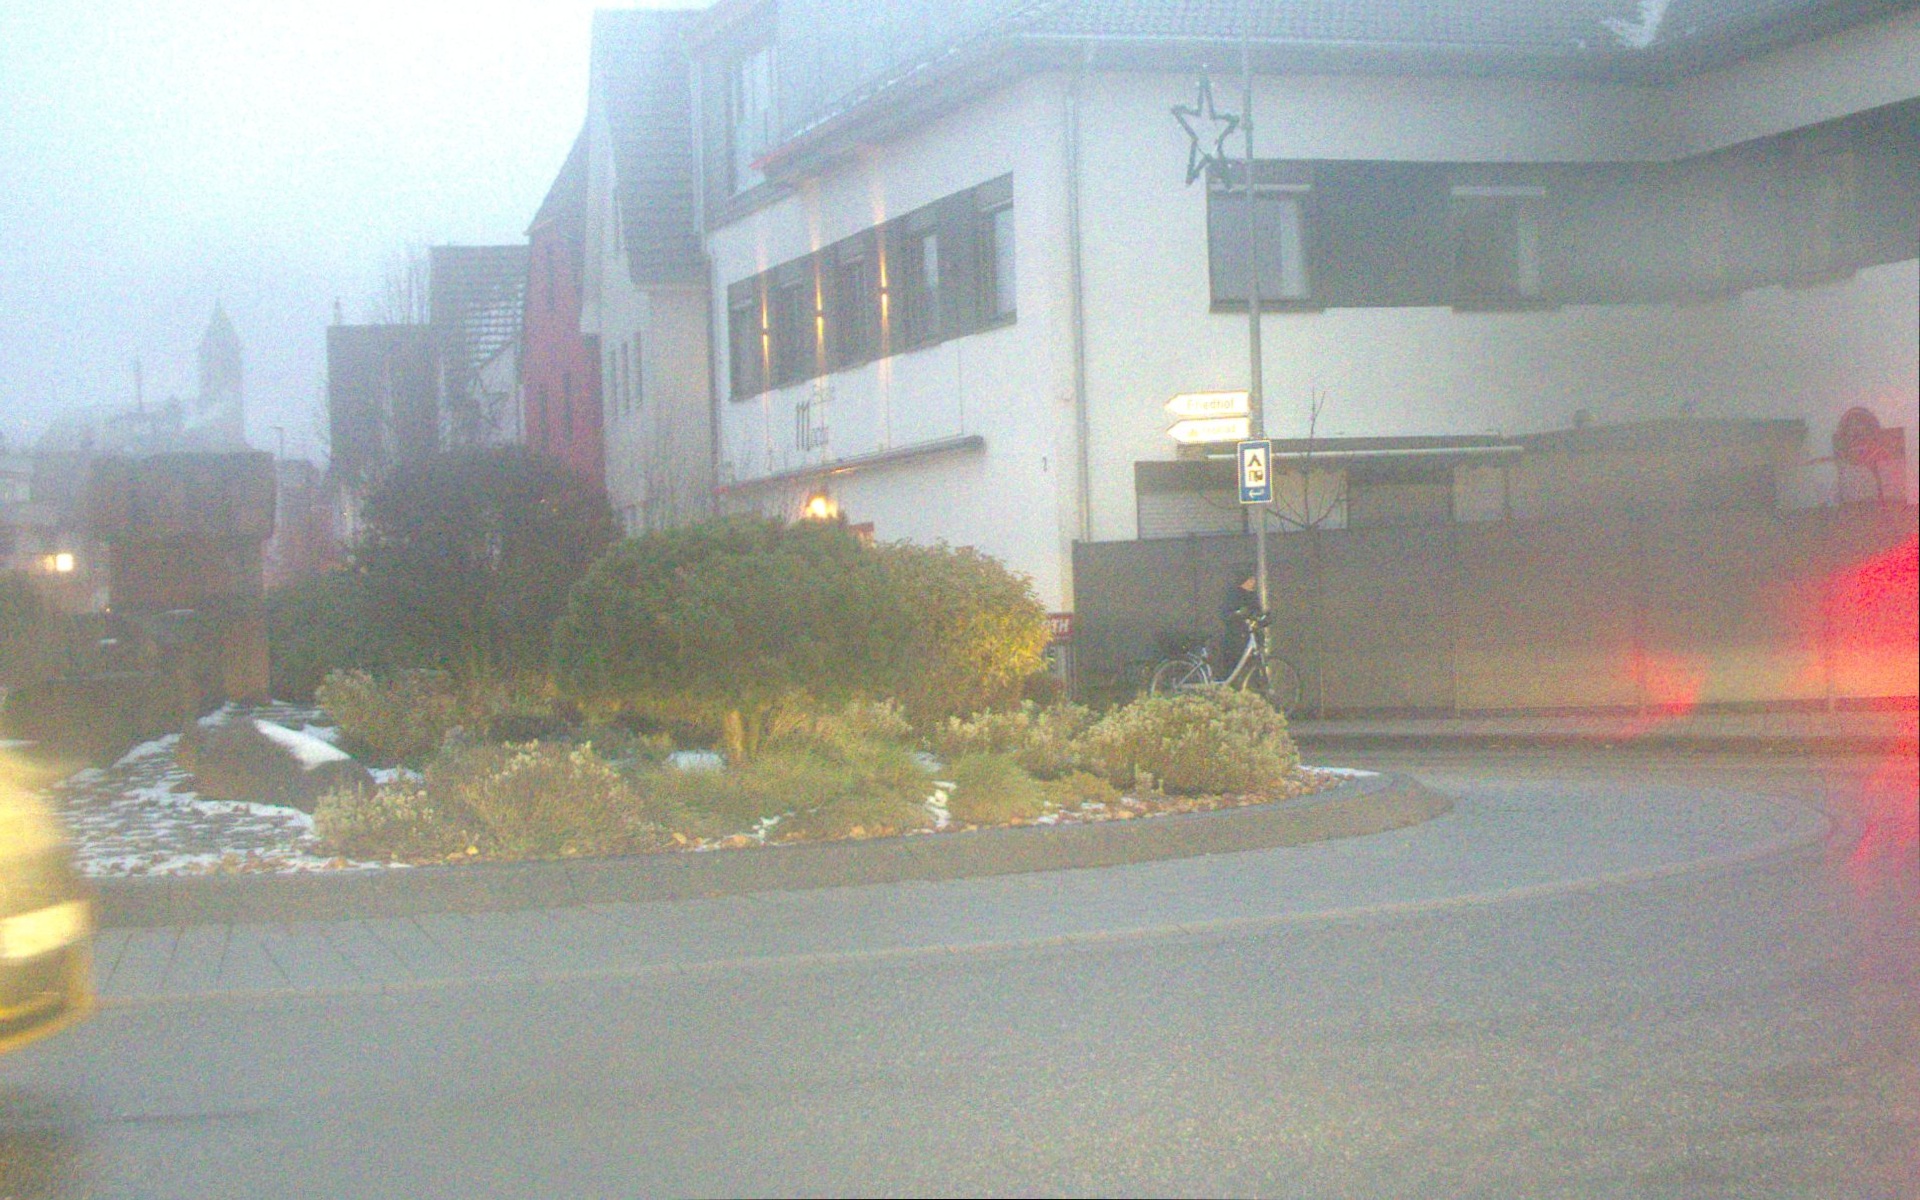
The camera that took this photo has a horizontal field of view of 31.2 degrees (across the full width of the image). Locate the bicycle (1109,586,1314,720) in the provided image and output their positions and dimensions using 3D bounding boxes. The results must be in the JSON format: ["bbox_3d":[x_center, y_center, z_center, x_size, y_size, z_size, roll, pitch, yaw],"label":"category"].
[{"bbox_3d":[2.513,0.537,34.376,1.939,1.291,0.551,-1,2,25],"label":"bicycle"}]

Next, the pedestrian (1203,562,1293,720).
[{"bbox_3d":[2.908,0.409,34.697,0.690,1.559,0.609,-1,1,26],"label":"pedestrian"}]

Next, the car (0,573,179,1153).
[{"bbox_3d":[-4.299,0.680,9.054,4.001,1.417,1.715,-1,1,9],"label":"car"}]
